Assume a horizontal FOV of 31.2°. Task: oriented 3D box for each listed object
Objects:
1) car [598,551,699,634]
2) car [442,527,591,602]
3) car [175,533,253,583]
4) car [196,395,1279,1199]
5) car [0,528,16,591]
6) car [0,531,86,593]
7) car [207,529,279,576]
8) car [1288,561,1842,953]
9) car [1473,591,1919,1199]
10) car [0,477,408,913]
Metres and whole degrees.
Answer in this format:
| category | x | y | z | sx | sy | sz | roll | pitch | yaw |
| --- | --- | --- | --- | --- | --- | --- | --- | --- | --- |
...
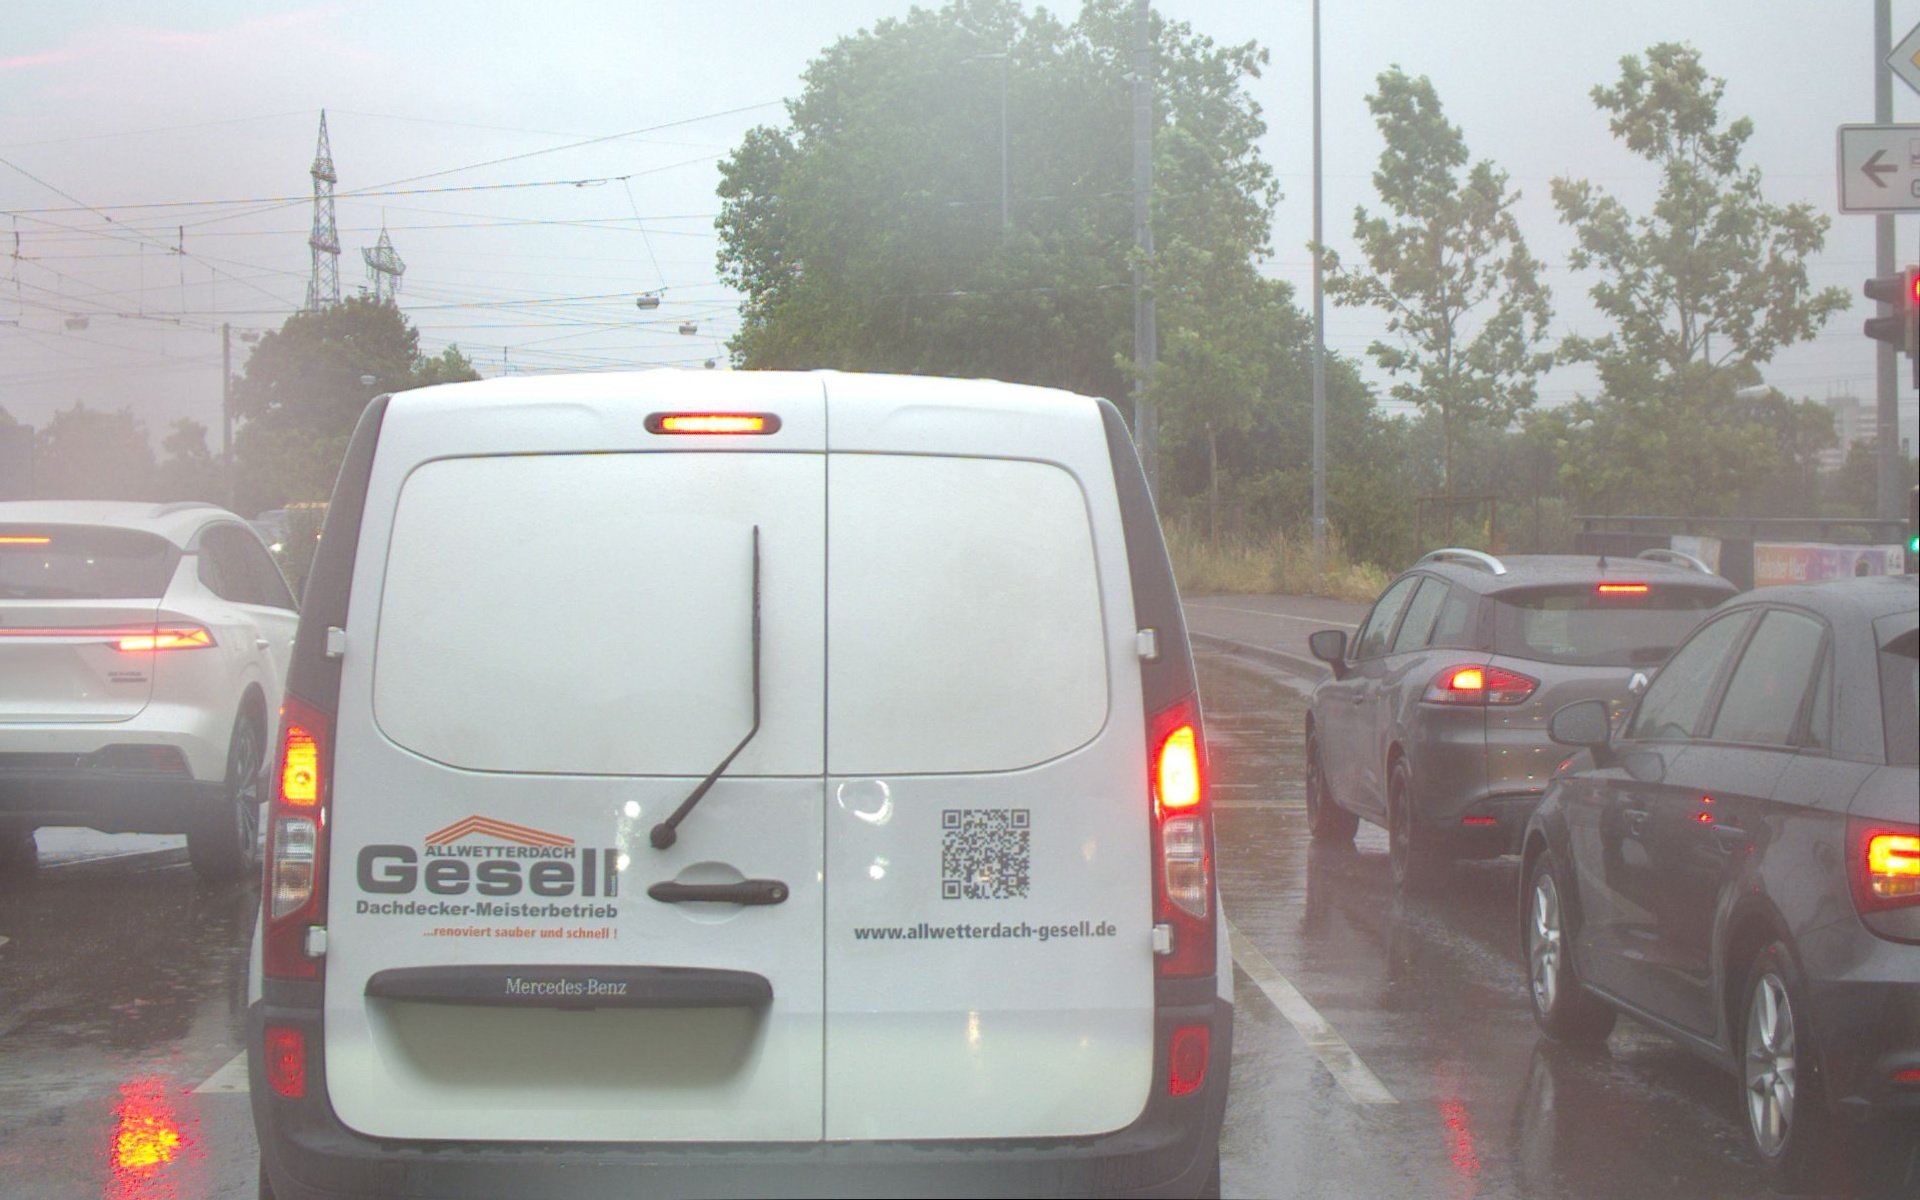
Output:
| category | x | y | z | sx | sy | sz | roll | pitch | yaw |
| --- | --- | --- | --- | --- | --- | --- | --- | --- | --- |
| car | -6.189 | -0.164 | 68.674 | 1.634 | 1.517 | 3.775 | 3 | 0 | -1 |
| car | -6.906 | -0.534 | 53.828 | 1.492 | 1.082 | 3.535 | 2 | 0 | 6 |
| car | -22.393 | -1.252 | 103.330 | 1.559 | 1.421 | 3.569 | 2 | 0 | -1 |
| car | -0.506 | 0.484 | 7.700 | 1.754 | 1.744 | 4.170 | 1 | 2 | -4 |
| car | -22.537 | -0.942 | 77.397 | 1.559 | 1.421 | 3.569 | 2 | 0 | -1 |
| car | -22.557 | -0.918 | 83.885 | 1.559 | 1.421 | 3.569 | 2 | 0 | -1 |
| car | -23.277 | -1.538 | 111.684 | 1.559 | 1.421 | 3.569 | 2 | 0 | -1 |
| car | 2.569 | 0.598 | 15.493 | 1.684 | 1.503 | 3.921 | 1 | 1 | -1 |
| car | 2.500 | 0.661 | 8.982 | 1.597 | 1.362 | 3.631 | -1 | 0 | -3 |
| car | -3.967 | 0.349 | 16.422 | 1.930 | 1.769 | 4.664 | 1 | 1 | -1 |
